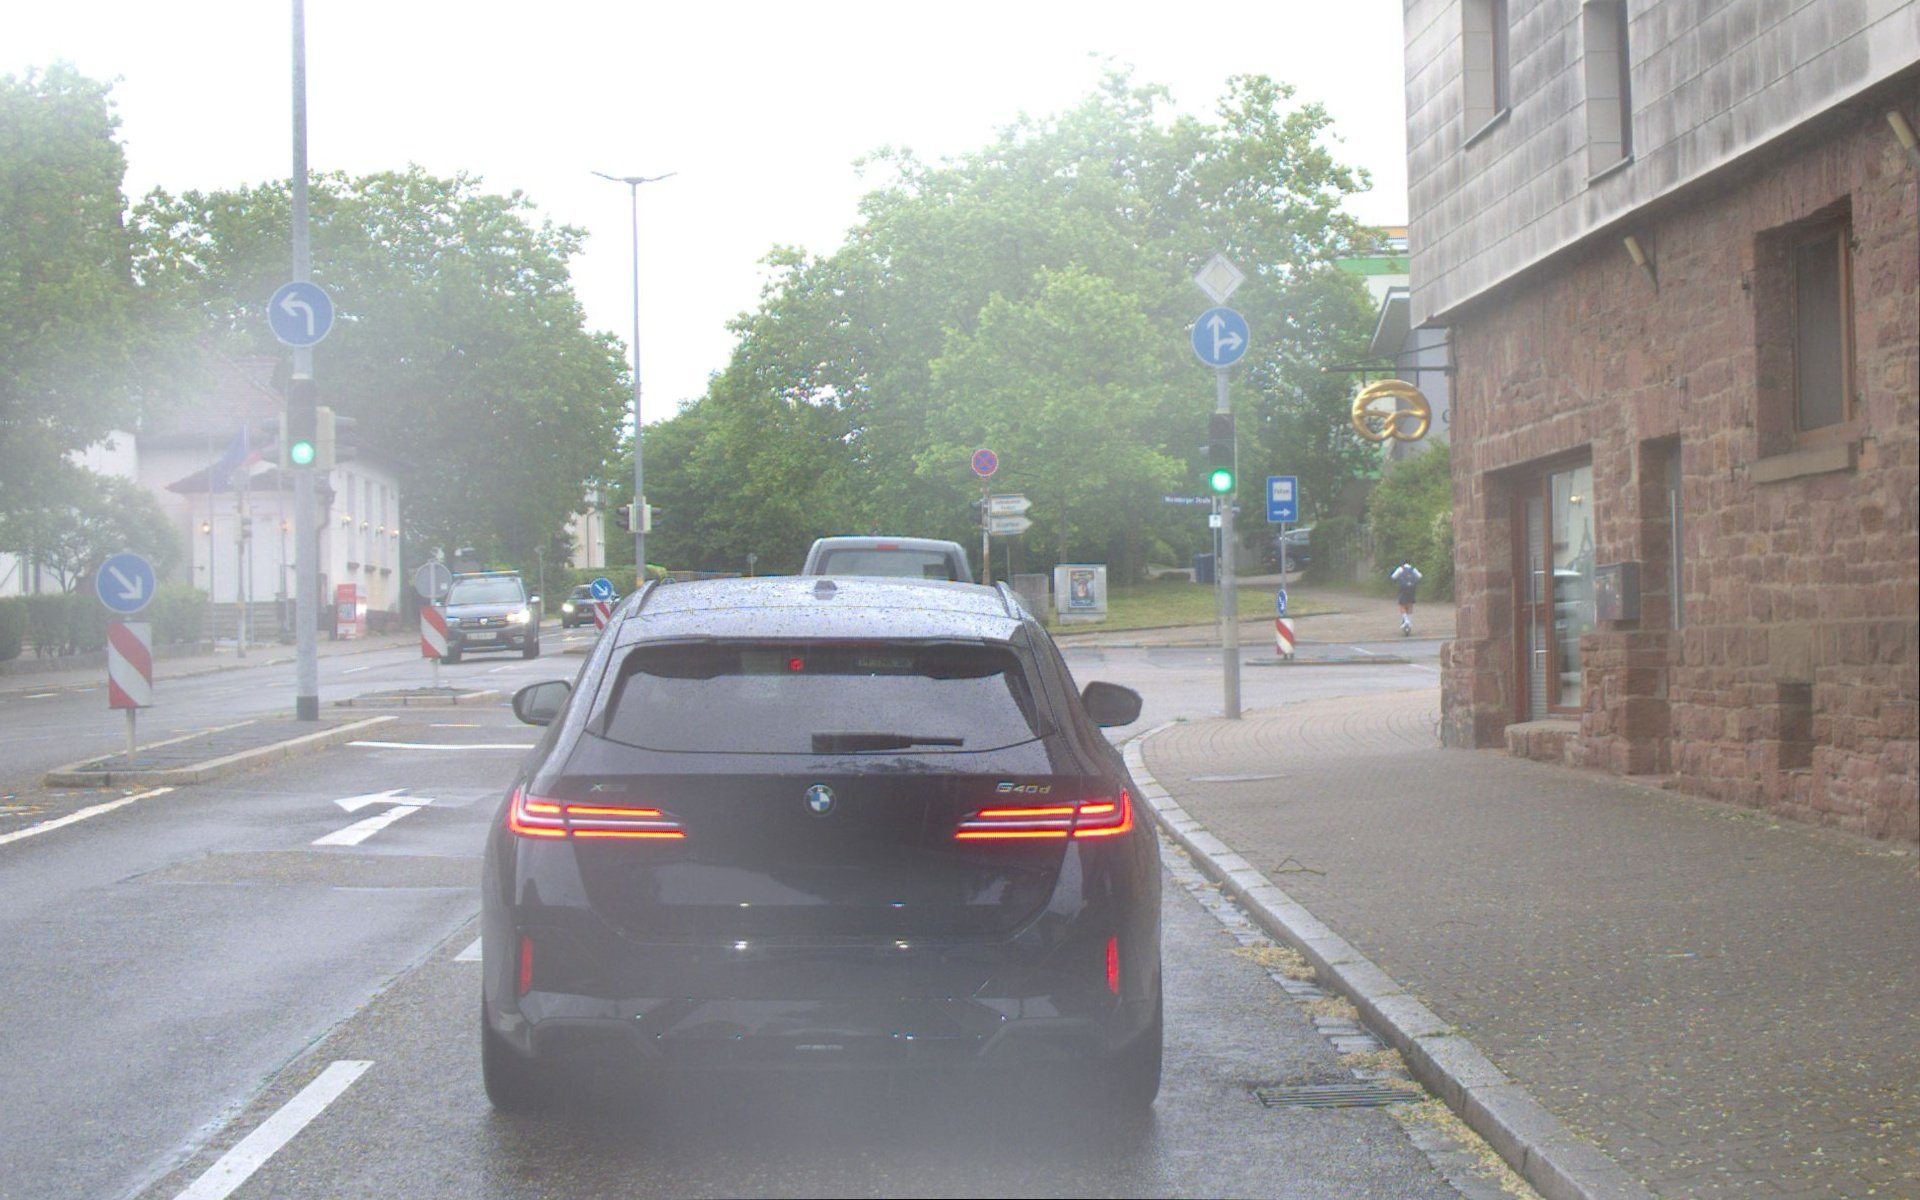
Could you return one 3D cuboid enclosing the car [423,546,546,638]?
[{"bbox_3d":[-8.750,-0.180,63.616,1.898,1.572,4.503,-1,1,-4],"label":"car"}]

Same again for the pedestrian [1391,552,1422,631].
[{"bbox_3d":[9.230,-0.171,71.019,0.601,1.611,0.525,1,0,6],"label":"pedestrian"}]

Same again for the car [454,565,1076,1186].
[{"bbox_3d":[-0.591,0.688,10.311,1.523,1.529,3.532,1,0,-4],"label":"car"}]

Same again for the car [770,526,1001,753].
[{"bbox_3d":[-0.701,0.317,29.606,1.812,1.802,3.757,1,0,-4],"label":"car"}]

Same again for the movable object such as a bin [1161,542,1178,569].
[{"bbox_3d":[6.991,-1.491,114.654,0.450,0.902,0.462,1,0,15],"label":"movable object such as a bin"}]
